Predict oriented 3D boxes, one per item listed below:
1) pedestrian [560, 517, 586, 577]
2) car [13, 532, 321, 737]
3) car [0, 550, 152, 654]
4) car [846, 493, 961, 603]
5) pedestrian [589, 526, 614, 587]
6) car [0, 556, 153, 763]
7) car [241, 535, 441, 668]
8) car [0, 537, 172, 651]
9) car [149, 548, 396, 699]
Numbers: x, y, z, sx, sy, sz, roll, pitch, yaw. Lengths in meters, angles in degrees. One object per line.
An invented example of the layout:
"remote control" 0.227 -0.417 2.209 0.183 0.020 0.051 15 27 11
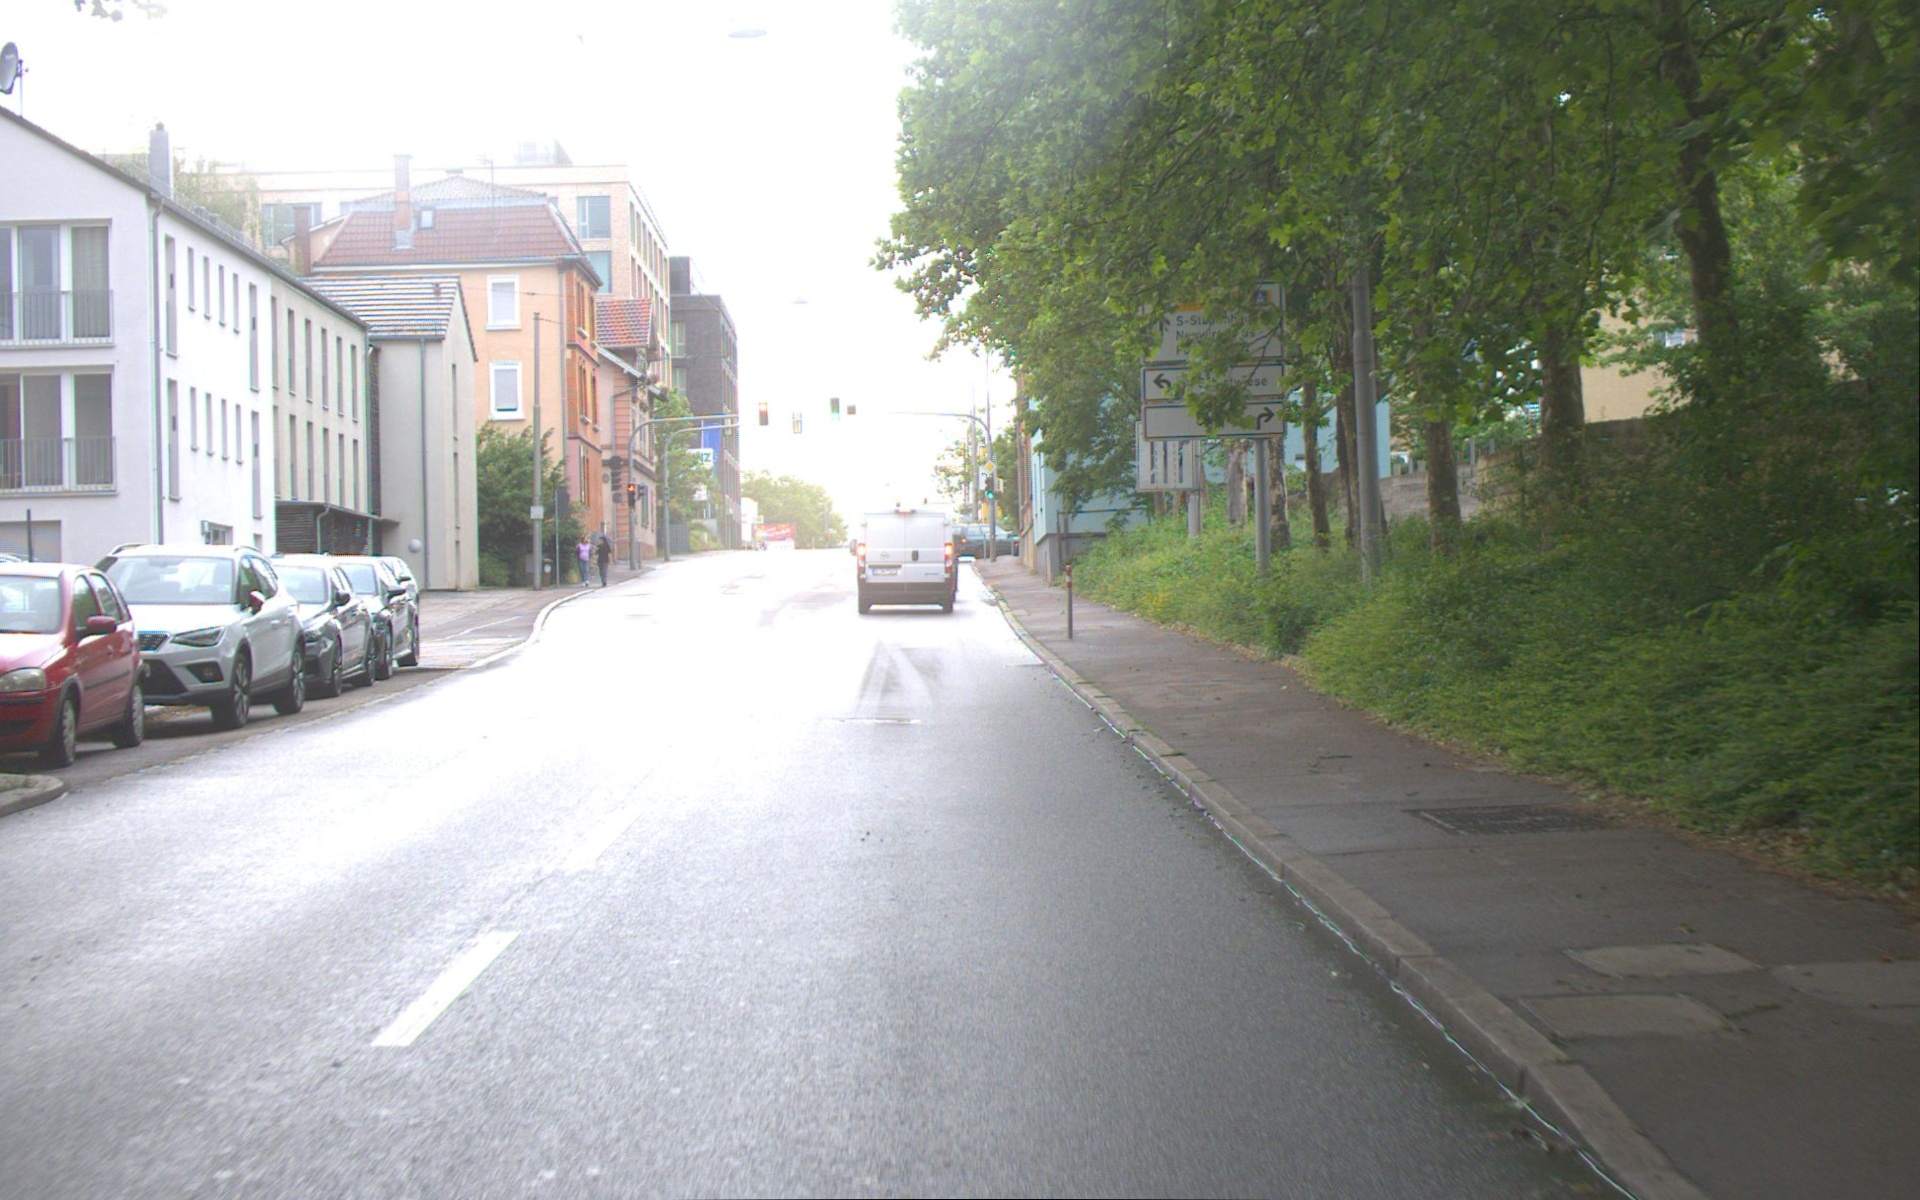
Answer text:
"pedestrian" -12.903 -1.774 114.647 0.671 2.007 0.941 0 1 3
"car" -6.856 0.243 30.143 1.691 1.537 4.118 -3 2 0
"car" -14.376 0.046 50.949 4.289 1.458 2.069 -1 1 0
"car" -1.189 -1.089 73.971 2.336 2.223 4.000 -2 -1 0
"pedestrian" -11.996 -1.452 114.916 0.671 2.007 0.941 0 1 3
"car" -6.999 0.377 24.740 1.638 1.369 3.759 0 1 -3
"car" -7.369 -0.004 41.272 1.635 1.477 4.359 1 0 -1
"car" -14.676 -0.089 53.761 4.150 1.692 2.000 -1 1 3
"car" -7.168 0.202 36.247 1.743 1.477 4.386 -1 1 -1
